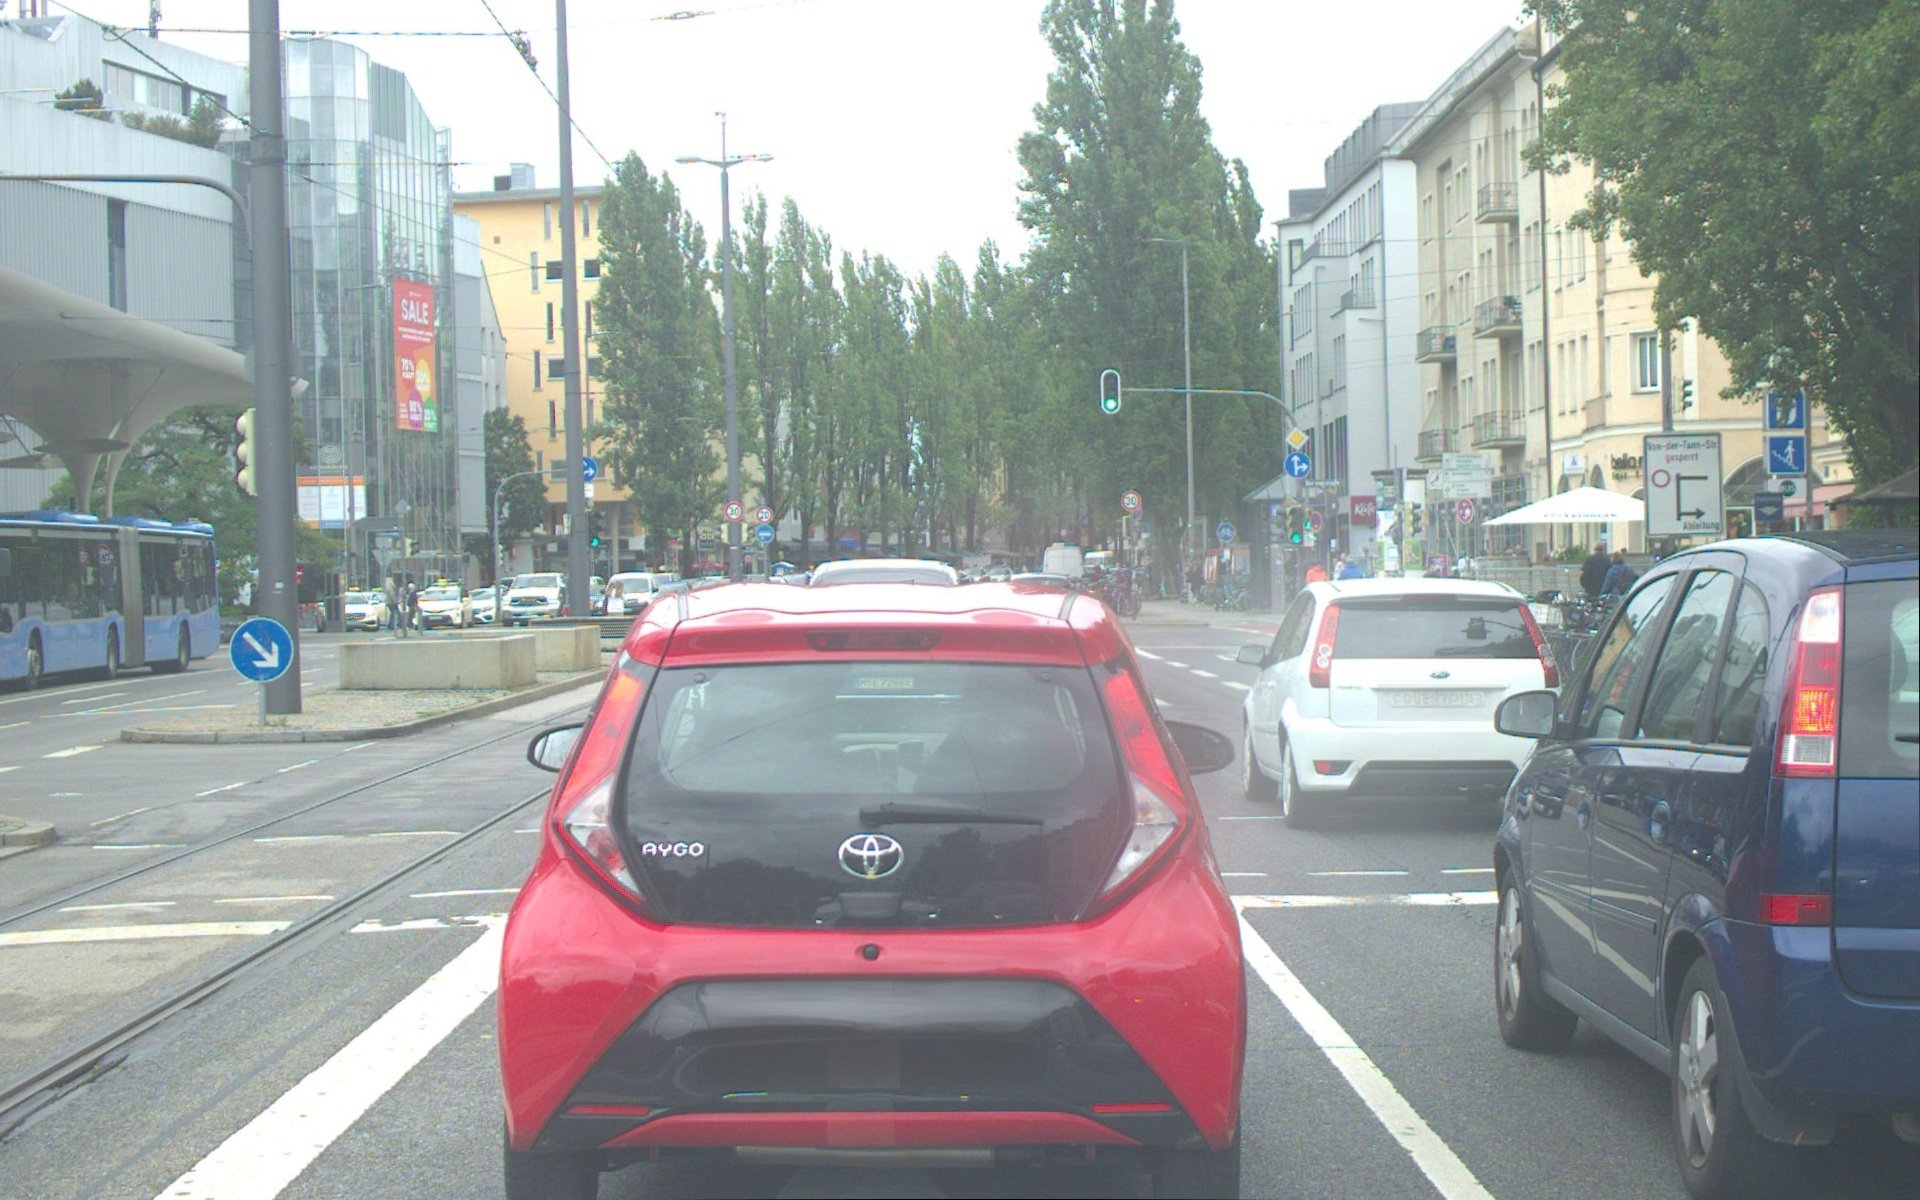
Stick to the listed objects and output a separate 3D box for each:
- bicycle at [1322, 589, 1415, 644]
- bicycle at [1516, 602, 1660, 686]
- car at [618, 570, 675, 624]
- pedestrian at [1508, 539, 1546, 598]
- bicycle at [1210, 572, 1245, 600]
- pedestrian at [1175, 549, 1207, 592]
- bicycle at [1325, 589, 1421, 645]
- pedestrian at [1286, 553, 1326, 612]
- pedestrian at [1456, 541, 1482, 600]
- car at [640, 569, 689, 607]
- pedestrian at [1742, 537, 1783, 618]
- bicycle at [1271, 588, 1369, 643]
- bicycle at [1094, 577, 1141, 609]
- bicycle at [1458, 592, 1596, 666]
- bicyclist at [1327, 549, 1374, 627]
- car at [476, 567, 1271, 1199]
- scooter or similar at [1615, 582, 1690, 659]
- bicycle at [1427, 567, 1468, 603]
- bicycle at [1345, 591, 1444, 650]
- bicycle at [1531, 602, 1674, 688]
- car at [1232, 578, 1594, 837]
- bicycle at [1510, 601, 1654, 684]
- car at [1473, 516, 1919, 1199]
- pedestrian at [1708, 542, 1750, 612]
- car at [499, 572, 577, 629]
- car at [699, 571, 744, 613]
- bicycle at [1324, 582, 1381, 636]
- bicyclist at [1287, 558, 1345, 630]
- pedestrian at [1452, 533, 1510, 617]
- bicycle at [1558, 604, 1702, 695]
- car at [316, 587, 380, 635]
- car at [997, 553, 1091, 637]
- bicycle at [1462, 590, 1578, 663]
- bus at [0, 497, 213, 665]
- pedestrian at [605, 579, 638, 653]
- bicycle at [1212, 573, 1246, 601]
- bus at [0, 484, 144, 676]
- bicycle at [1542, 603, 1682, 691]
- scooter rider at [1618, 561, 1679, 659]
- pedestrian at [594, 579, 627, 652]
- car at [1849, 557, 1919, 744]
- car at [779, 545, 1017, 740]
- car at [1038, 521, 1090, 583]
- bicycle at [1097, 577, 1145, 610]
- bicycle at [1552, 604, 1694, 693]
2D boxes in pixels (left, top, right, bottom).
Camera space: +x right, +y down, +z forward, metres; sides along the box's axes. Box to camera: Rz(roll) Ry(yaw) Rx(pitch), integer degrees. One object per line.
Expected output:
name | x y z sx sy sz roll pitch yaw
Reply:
bicycle | 7.609 0.313 64.133 1.840 0.992 0.347 -2 0 43
bicycle | 7.852 0.539 43.039 1.840 0.992 0.374 1 2 42
car | -11.295 -0.115 123.997 1.786 1.849 4.219 -2 1 -3
pedestrian | 17.032 -0.956 103.277 0.933 1.749 1.065 -2 1 0
bicycle | 9.576 -0.502 123.103 1.181 0.960 0.369 -2 1 -1
pedestrian | 8.309 -1.060 123.717 0.808 1.517 0.800 -2 1 -25
bicycle | 7.619 0.320 63.446 1.840 0.992 0.347 -2 0 40
pedestrian | 10.050 -0.501 99.846 0.836 1.685 0.818 -1 1 37
pedestrian | 14.635 -0.849 98.883 0.566 1.665 0.562 -1 4 22
car | -11.734 -0.479 136.804 1.677 1.391 4.233 -3 1 -2
pedestrian | 16.199 -0.452 69.404 0.614 1.627 0.678 -1 0 0
bicycle | 8.419 0.359 80.524 0.614 1.260 2.518 -2 1 -41
bicycle | 5.057 -0.222 110.671 0.498 1.025 1.601 -2 1 -42
bicycle | 7.795 0.390 47.312 1.838 0.992 0.375 0 2 24
bicyclist | 9.475 -0.294 83.457 0.762 1.863 1.133 -2 1 -11
car | -0.156 0.660 8.542 1.605 1.456 3.130 0 1 1
scooter or similar | 9.987 0.289 49.607 0.775 1.071 1.256 -1 1 -2
bicycle | 14.332 -0.446 101.108 0.494 1.055 1.867 -2 1 -15
bicycle | 7.559 0.363 59.856 1.840 0.992 0.347 -2 0 44
bicycle | 7.896 0.547 42.290 1.841 0.992 0.374 1 3 45
car | 2.676 0.591 21.019 1.699 1.421 3.497 0 1 -1
bicycle | 7.907 0.532 43.721 1.840 0.992 0.374 1 2 38
car | 2.476 0.594 9.088 1.703 1.584 3.556 0 1 0
pedestrian | 15.687 -0.467 70.143 0.675 1.418 0.617 -1 0 0
car | -15.024 -0.005 122.642 2.175 1.881 6.157 -2 1 -2
car | -8.770 -0.295 126.317 1.545 1.440 3.540 -2 1 -4
bicycle | 9.497 0.204 83.263 0.613 1.260 2.520 -2 1 -11
bicyclist | 8.346 -0.131 80.608 0.614 1.652 1.250 -2 1 -41
pedestrian | 11.031 -0.524 72.791 0.881 1.737 0.858 -2 0 -16
bicycle | 7.818 0.569 40.190 0.374 0.992 1.841 -2 2 -39
car | -21.834 0.379 122.598 1.993 1.531 4.416 -3 1 -13
car | 1.892 -0.137 78.622 1.993 1.831 4.000 -1 1 0
bicycle | 8.049 0.372 49.489 0.324 0.992 1.841 -2 2 -43
bus | -16.844 -0.389 67.983 2.660 2.997 7.514 -3 1 -2
pedestrian | -7.539 0.356 76.622 0.521 1.613 0.463 -1 1 44
bicycle | 9.584 -0.478 122.560 1.181 0.960 0.369 -2 1 4
bus | -16.451 -0.287 58.966 2.660 2.997 10.517 -3 1 -2
bicycle | 7.877 0.554 41.595 0.374 0.992 1.841 -2 2 -39
scooter rider | 9.940 0.136 49.660 0.700 1.384 0.643 -1 0 -2
pedestrian | -7.811 0.351 76.922 0.486 1.613 0.558 -2 0 -35
car | 8.450 0.372 26.145 1.993 1.435 4.530 -2 1 -2
car | -0.557 0.339 31.493 1.993 1.612 4.000 -2 1 -1
car | 4.734 -2.175 157.075 2.107 2.709 4.804 -2 1 0
bicycle | 5.138 -0.209 109.815 0.498 1.025 1.601 -2 1 -42
bicycle | 7.860 0.562 40.831 0.374 0.992 1.841 -2 2 -39
